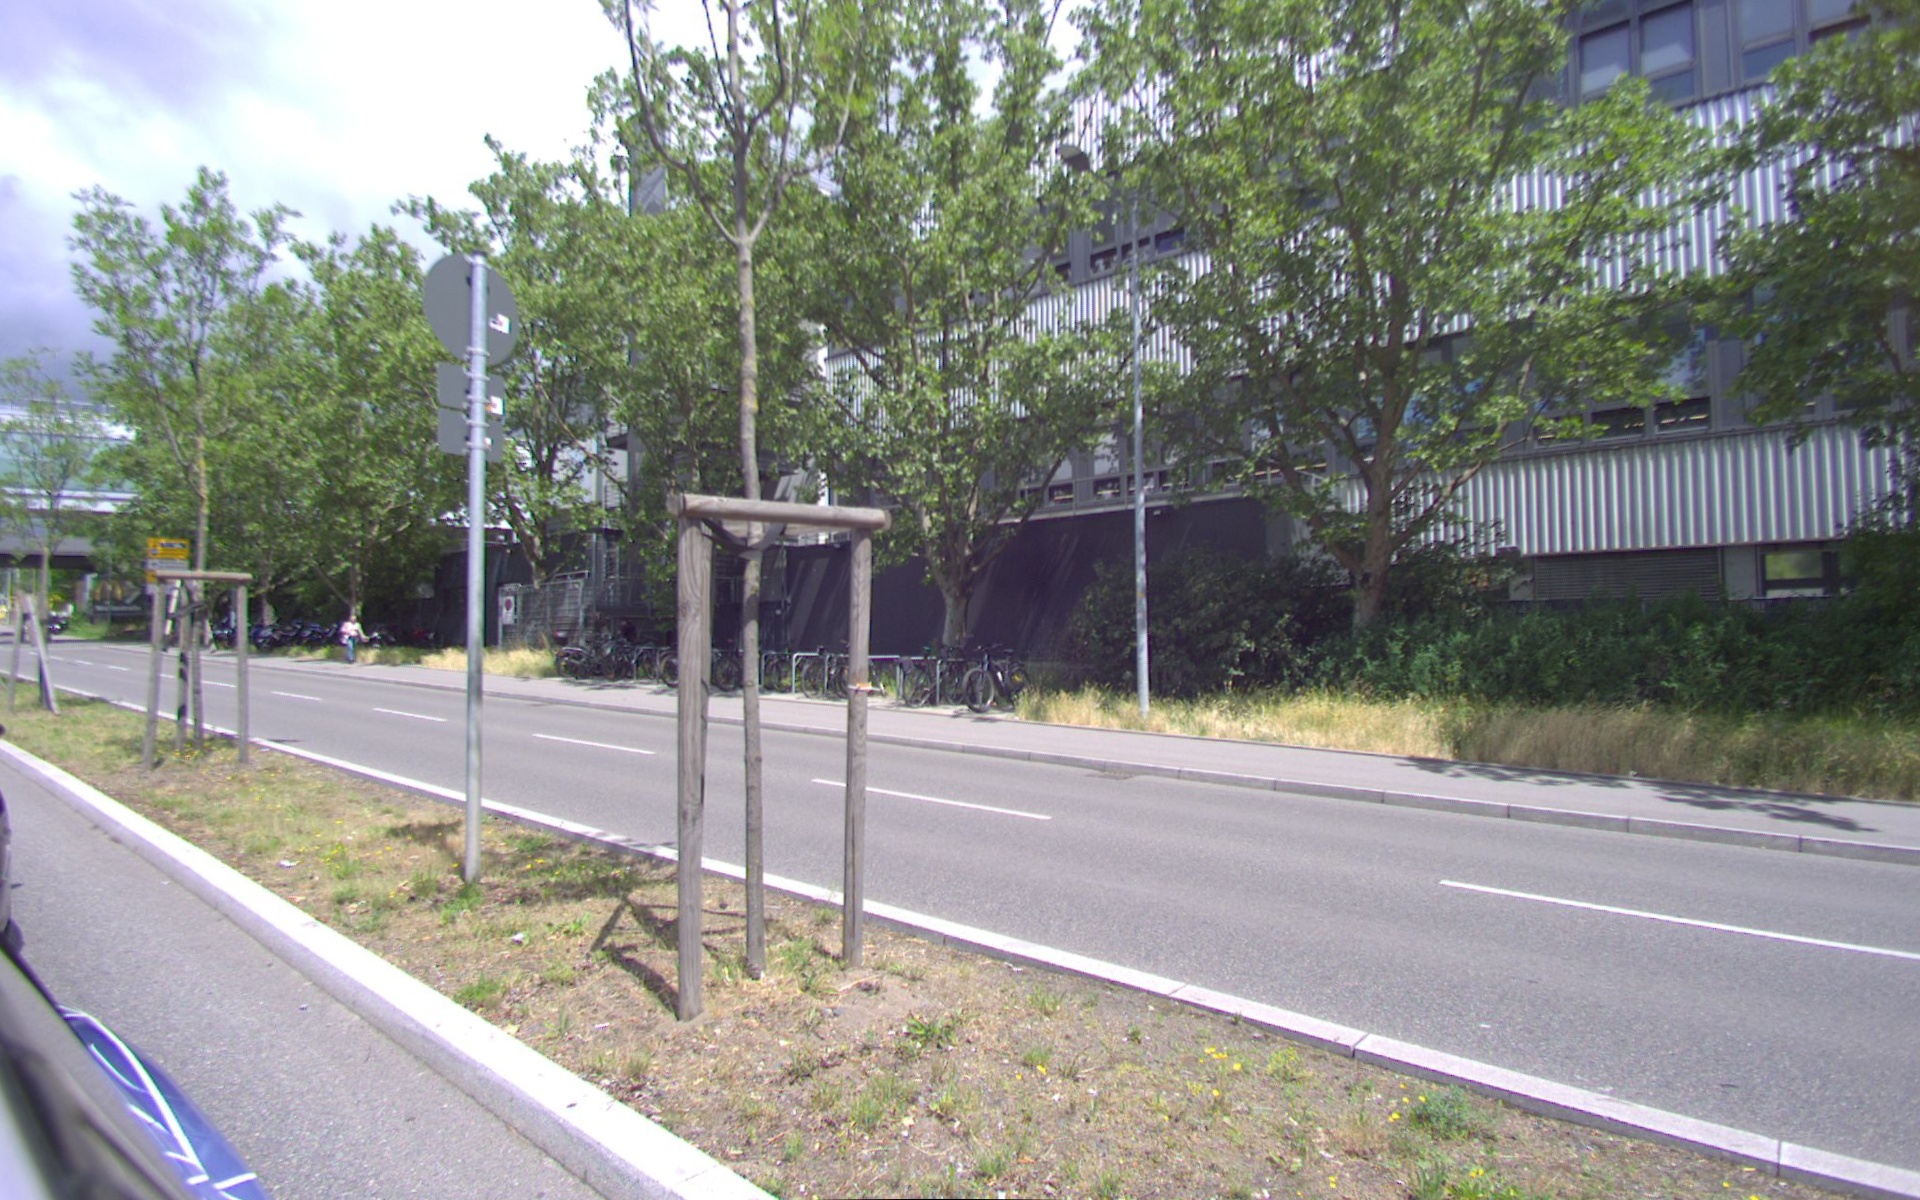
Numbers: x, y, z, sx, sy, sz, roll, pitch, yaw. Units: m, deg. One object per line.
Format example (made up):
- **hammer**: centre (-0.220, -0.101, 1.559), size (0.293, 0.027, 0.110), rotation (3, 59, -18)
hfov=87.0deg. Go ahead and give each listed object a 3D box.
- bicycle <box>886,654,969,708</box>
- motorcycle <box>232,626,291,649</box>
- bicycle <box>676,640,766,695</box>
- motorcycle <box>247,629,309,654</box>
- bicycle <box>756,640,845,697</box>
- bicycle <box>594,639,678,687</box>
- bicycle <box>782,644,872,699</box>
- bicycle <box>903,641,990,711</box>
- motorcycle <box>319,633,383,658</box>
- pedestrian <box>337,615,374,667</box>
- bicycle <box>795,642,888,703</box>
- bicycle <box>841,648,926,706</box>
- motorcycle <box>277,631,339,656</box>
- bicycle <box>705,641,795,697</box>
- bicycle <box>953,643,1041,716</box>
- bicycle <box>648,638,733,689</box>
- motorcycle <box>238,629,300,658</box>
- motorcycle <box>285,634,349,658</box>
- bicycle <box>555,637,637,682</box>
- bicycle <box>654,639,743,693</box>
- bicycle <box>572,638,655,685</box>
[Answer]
- **bicycle**: centre (-0.593, 1.515, 19.216), size (0.381, 0.897, 1.968), rotation (-2, -1, 39)
- **motorcycle**: centre (-31.085, 1.648, 45.068), size (0.534, 0.976, 2.105), rotation (-2, -1, 41)
- **bicycle**: centre (-5.330, 1.482, 22.662), size (0.382, 1.119, 2.101), rotation (-2, -1, 43)
- **motorcycle**: centre (-28.598, 1.740, 42.448), size (0.534, 0.976, 2.105), rotation (-2, -1, 41)
- **bicycle**: centre (-3.408, 1.450, 21.745), size (0.382, 1.119, 2.101), rotation (-2, -1, 43)
- **bicycle**: centre (-8.157, 1.560, 25.532), size (0.382, 1.119, 2.101), rotation (-2, -1, 43)
- **bicycle**: centre (-2.739, 1.473, 21.131), size (0.382, 1.038, 2.101), rotation (-2, -1, 43)
- **bicycle**: centre (-0.215, 1.330, 18.115), size (0.381, 1.137, 1.968), rotation (-2, -1, 39)
- **motorcycle**: centre (-23.966, 1.772, 39.870), size (0.534, 0.905, 2.105), rotation (-2, -1, 41)
- **pedestrian**: centre (-20.350, 1.370, 34.086), size (0.672, 1.734, 0.888), rotation (-1, -2, 41)
- **bicycle**: centre (-2.336, 1.429, 20.223), size (0.382, 1.104, 2.101), rotation (-2, -1, 43)
- **bicycle**: centre (-1.465, 1.471, 19.702), size (0.381, 1.005, 1.968), rotation (-2, -1, 39)
- **motorcycle**: centre (-26.741, 1.777, 41.529), size (0.534, 0.976, 2.105), rotation (-2, -1, 41)
- **bicycle**: centre (-4.539, 1.473, 22.011), size (0.382, 1.119, 2.101), rotation (-2, -1, 43)
- **bicycle**: centre (0.664, 1.334, 17.393), size (0.381, 1.137, 1.968), rotation (-2, -1, 39)
- **bicycle**: centre (-6.477, 1.505, 24.408), size (0.382, 1.119, 2.101), rotation (-2, -1, 43)
- **motorcycle**: centre (-29.650, 1.858, 43.452), size (0.534, 1.146, 2.105), rotation (-2, -1, 41)
- **motorcycle**: centre (-25.962, 1.853, 40.894), size (0.534, 0.892, 2.105), rotation (-2, -1, 41)
- **bicycle**: centre (-9.543, 1.545, 26.626), size (0.382, 1.119, 2.101), rotation (-2, -1, 43)
- **bicycle**: centre (-5.986, 1.494, 23.258), size (0.382, 1.119, 2.101), rotation (-2, -1, 43)
- **bicycle**: centre (-8.901, 1.564, 26.080), size (0.382, 1.119, 2.101), rotation (-2, -1, 43)
